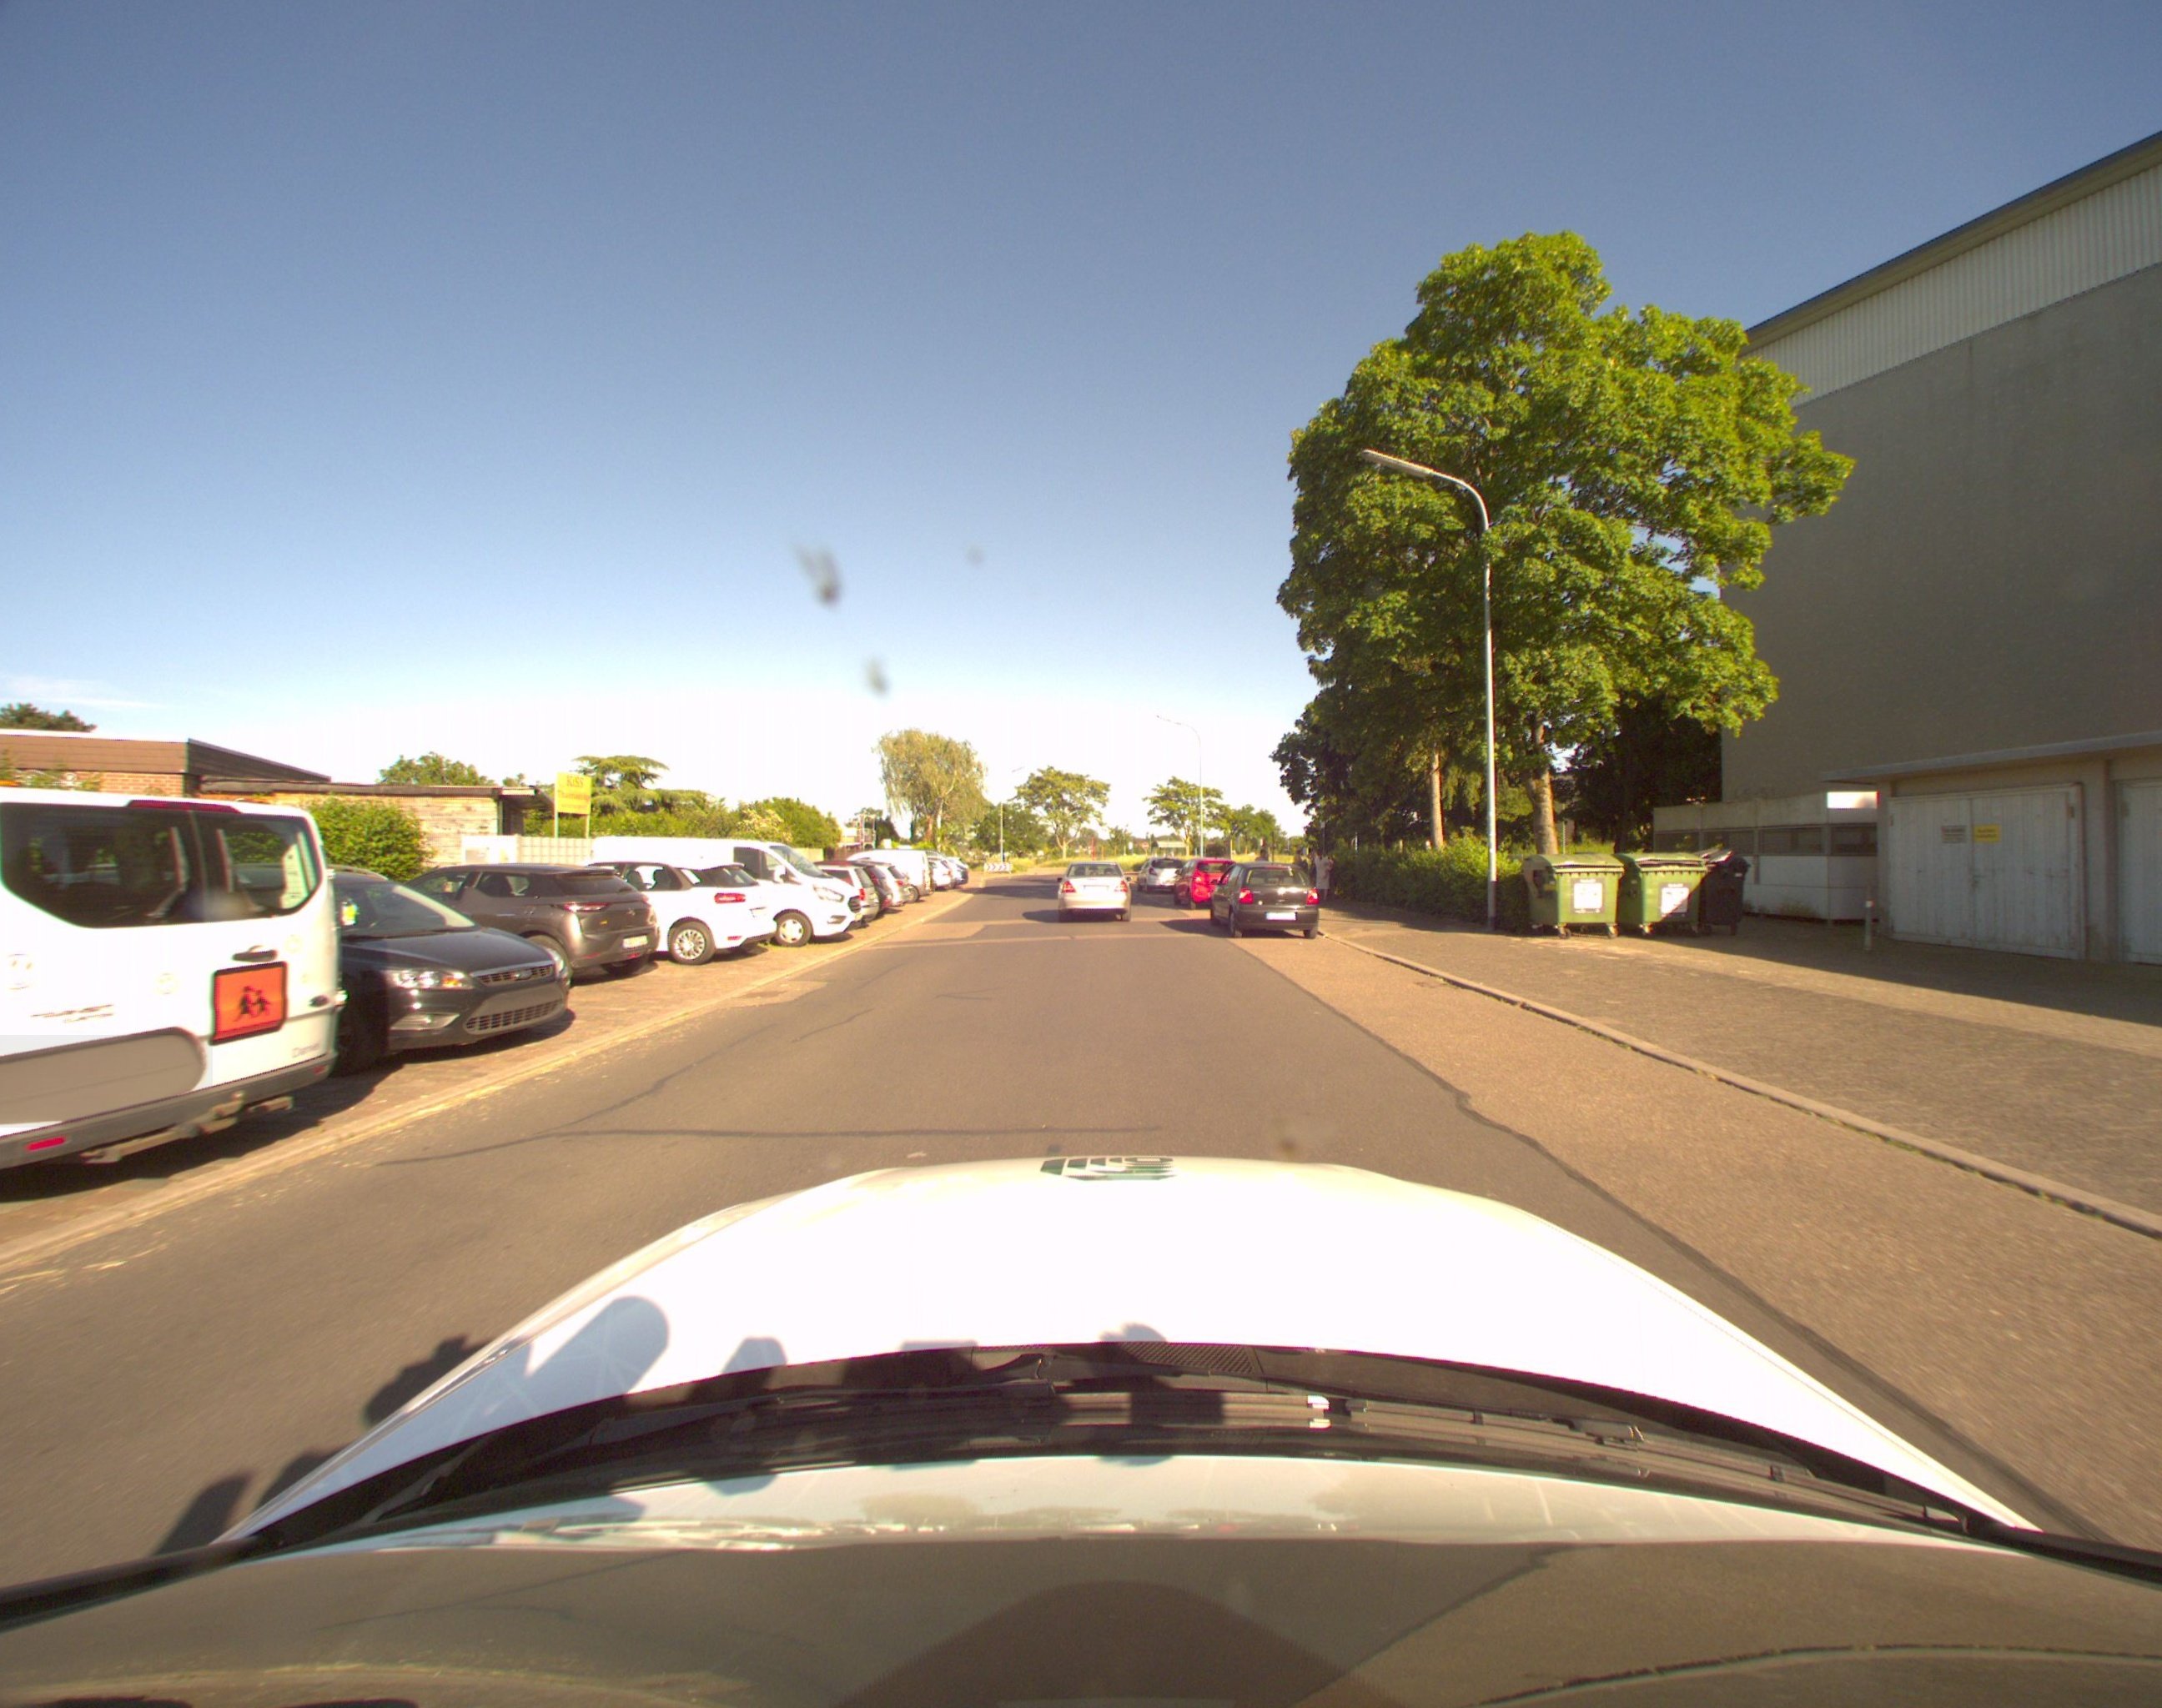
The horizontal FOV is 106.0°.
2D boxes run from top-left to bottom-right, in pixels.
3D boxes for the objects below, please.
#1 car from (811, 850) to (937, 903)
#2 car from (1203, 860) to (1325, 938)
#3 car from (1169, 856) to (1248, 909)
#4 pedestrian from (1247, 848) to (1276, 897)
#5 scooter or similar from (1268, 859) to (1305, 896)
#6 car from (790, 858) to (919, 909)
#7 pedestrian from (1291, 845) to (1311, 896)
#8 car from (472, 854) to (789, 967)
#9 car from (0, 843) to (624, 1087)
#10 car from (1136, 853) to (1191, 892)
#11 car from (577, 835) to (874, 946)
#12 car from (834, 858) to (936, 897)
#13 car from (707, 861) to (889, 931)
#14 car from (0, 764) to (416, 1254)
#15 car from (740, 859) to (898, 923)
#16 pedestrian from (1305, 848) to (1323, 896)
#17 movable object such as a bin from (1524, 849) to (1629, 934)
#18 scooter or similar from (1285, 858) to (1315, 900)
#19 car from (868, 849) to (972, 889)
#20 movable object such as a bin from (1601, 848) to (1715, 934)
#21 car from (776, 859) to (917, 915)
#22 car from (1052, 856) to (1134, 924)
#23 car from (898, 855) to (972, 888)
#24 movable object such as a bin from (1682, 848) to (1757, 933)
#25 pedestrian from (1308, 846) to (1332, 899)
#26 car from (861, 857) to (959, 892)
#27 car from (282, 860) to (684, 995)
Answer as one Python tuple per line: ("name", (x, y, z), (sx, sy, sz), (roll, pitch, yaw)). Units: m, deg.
("car", (-7.135, 0.760, 28.423), (3.970, 1.780, 1.922), (0, 0, -5))
("car", (3.628, 0.843, 16.802), (1.642, 1.403, 3.881), (0, -1, 0))
("car", (3.718, 0.811, 24.297), (1.572, 1.446, 3.784), (0, -1, -3))
("pedestrian", (5.823, 0.600, 26.316), (0.785, 1.565, 0.569), (1, -1, -2))
("scooter or similar", (6.898, 0.782, 27.333), (0.401, 1.227, 1.241), (-1, -1, -32))
("car", (-7.065, 0.906, 25.677), (3.501, 1.489, 1.728), (1, -1, 1))
("pedestrian", (6.973, 0.527, 25.803), (0.478, 1.565, 0.598), (-2, -2, 9))
("car", (-7.047, 0.843, 13.056), (3.971, 1.583, 1.885), (1, -1, 2))
("car", (-6.535, 0.814, 6.964), (4.135, 1.706, 1.885), (1, -1, 2))
("car", (3.399, 0.768, 34.190), (1.727, 1.543, 3.784), (0, -1, -3))
("car", (-6.697, 0.679, 15.818), (4.774, 1.921, 2.081), (1, -1, -1))
("car", (-7.854, 0.923, 32.945), (3.810, 1.532, 1.785), (0, -1, -7))
("car", (-6.363, 0.930, 18.569), (3.501, 1.446, 1.637), (1, -1, 1))
("car", (-6.542, 0.589, 4.238), (4.462, 1.977, 2.001), (1, -1, 1))
("car", (-6.613, 0.910, 20.815), (3.506, 1.489, 1.635), (1, 1, -4))
("pedestrian", (7.498, 0.571, 26.234), (0.361, 1.503, 0.500), (-2, -1, -4))
("movable object such as a bin", (8.480, 0.628, 13.975), (1.233, 1.403, 0.914), (-1, -1, 0))
("scooter or similar", (6.652, 0.743, 24.735), (0.621, 1.227, 0.904), (-2, -1, -2))
("car", (-7.863, 0.712, 40.237), (4.865, 1.915, 1.996), (0, -1, -6))
("movable object such as a bin", (9.852, 0.613, 13.953), (1.270, 1.416, 0.951), (-1, -1, 0))
("car", (-6.644, 0.919, 23.300), (3.501, 1.489, 1.637), (1, -1, 1))
("car", (0.327, 0.804, 20.314), (1.809, 1.463, 4.362), (0, 0, 1))
("car", (-7.665, 0.902, 42.955), (3.602, 1.607, 1.732), (1, -1, -2))
("movable object such as a bin", (10.899, 0.612, 13.926), (0.721, 1.416, 0.688), (-1, -1, 0))
("pedestrian", (7.244, 0.550, 24.670), (0.485, 1.565, 0.468), (-2, -2, -5))
("car", (-7.819, 0.927, 37.638), (4.128, 1.492, 1.923), (1, -1, -3))
("car", (-7.498, 0.868, 10.514), (3.753, 1.487, 1.885), (1, -1, 2))
